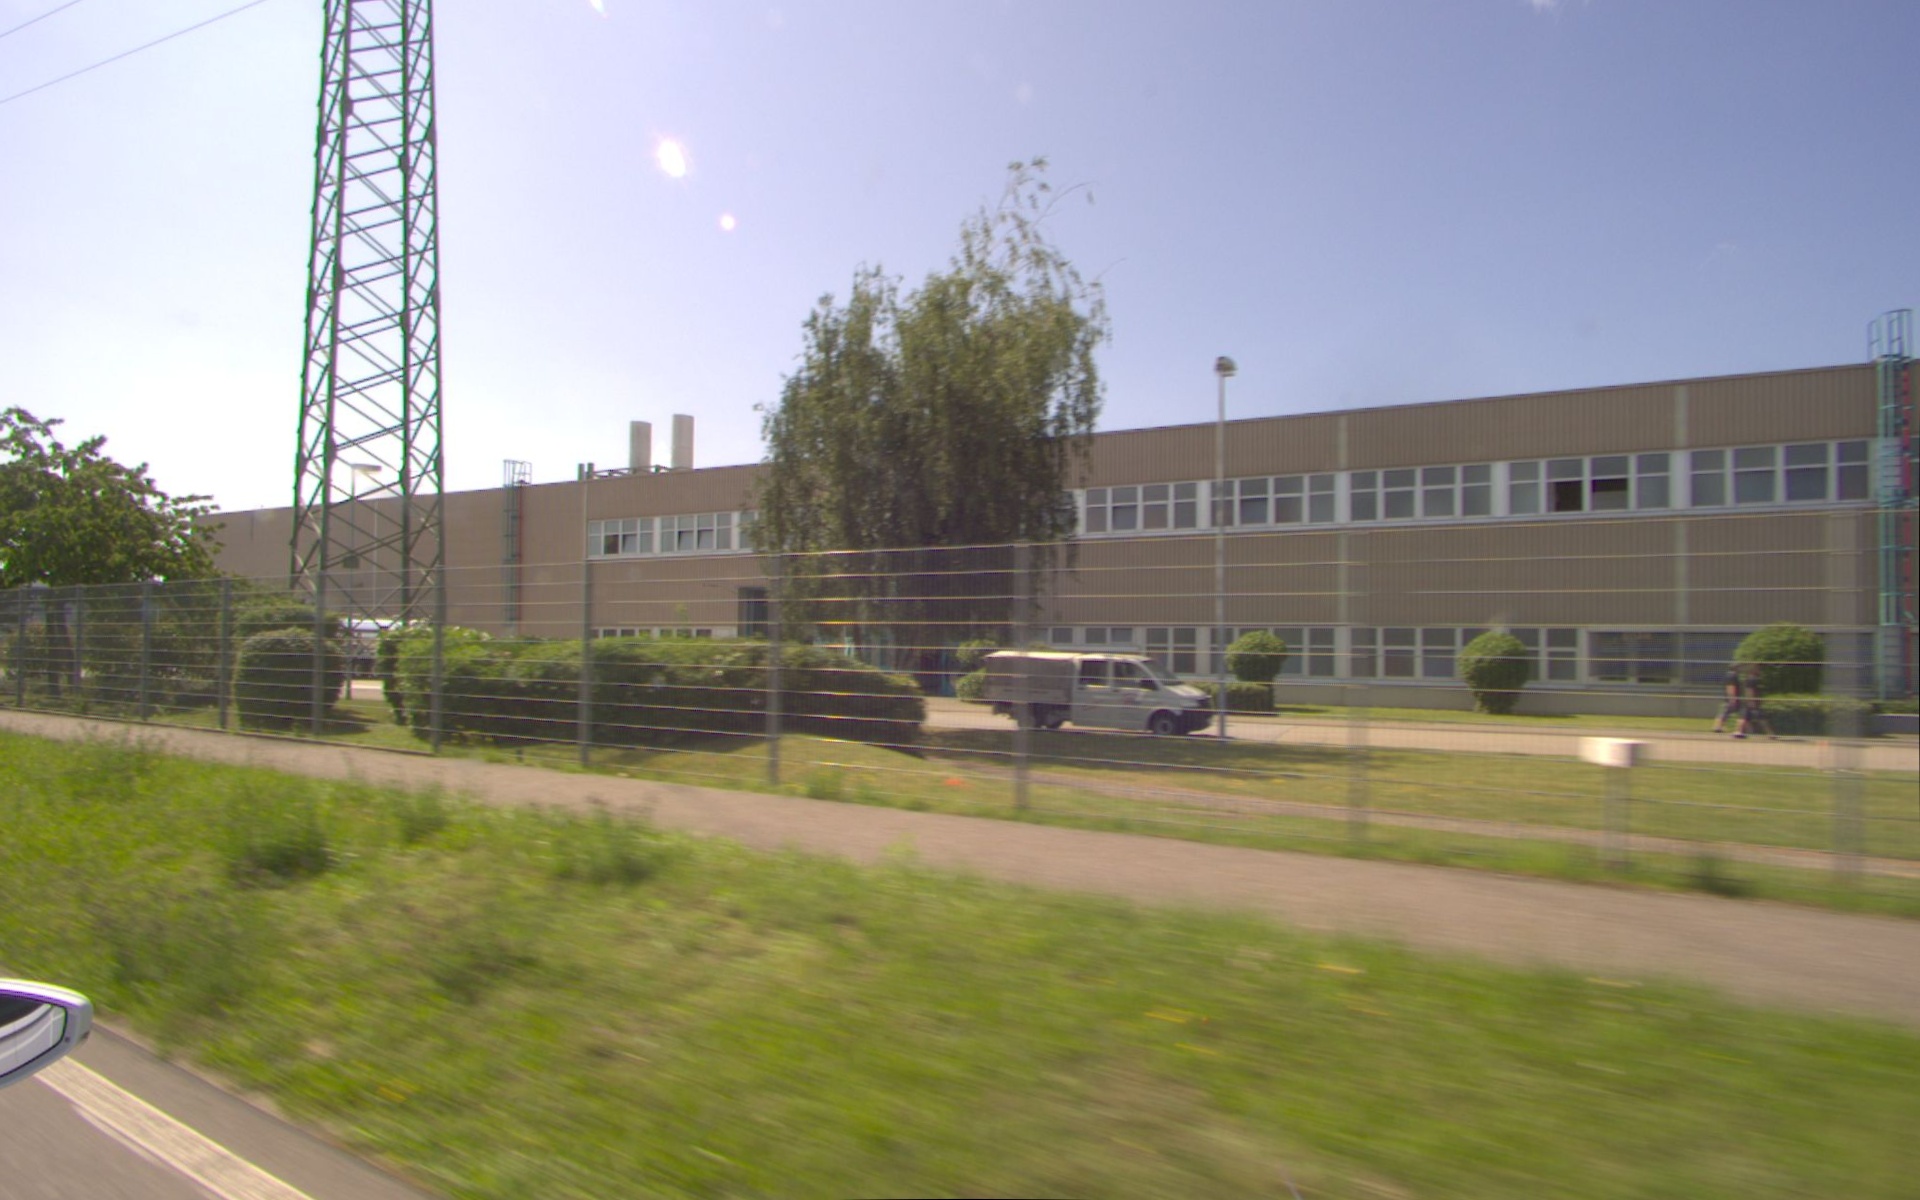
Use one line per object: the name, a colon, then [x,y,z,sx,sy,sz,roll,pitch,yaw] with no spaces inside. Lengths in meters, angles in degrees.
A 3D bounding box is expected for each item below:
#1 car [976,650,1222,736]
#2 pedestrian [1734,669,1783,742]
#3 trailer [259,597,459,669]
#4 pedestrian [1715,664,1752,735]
car: [3.366,2.181,24.359,5.561,1.801,2.112,0,-3,24]
pedestrian: [19.202,2.518,24.092,0.824,1.690,0.547,0,-2,31]
trailer: [-34.192,1.781,56.814,12.037,3.783,3.592,0,-1,25]
pedestrian: [19.250,2.465,24.919,0.653,1.738,0.486,0,-2,29]
